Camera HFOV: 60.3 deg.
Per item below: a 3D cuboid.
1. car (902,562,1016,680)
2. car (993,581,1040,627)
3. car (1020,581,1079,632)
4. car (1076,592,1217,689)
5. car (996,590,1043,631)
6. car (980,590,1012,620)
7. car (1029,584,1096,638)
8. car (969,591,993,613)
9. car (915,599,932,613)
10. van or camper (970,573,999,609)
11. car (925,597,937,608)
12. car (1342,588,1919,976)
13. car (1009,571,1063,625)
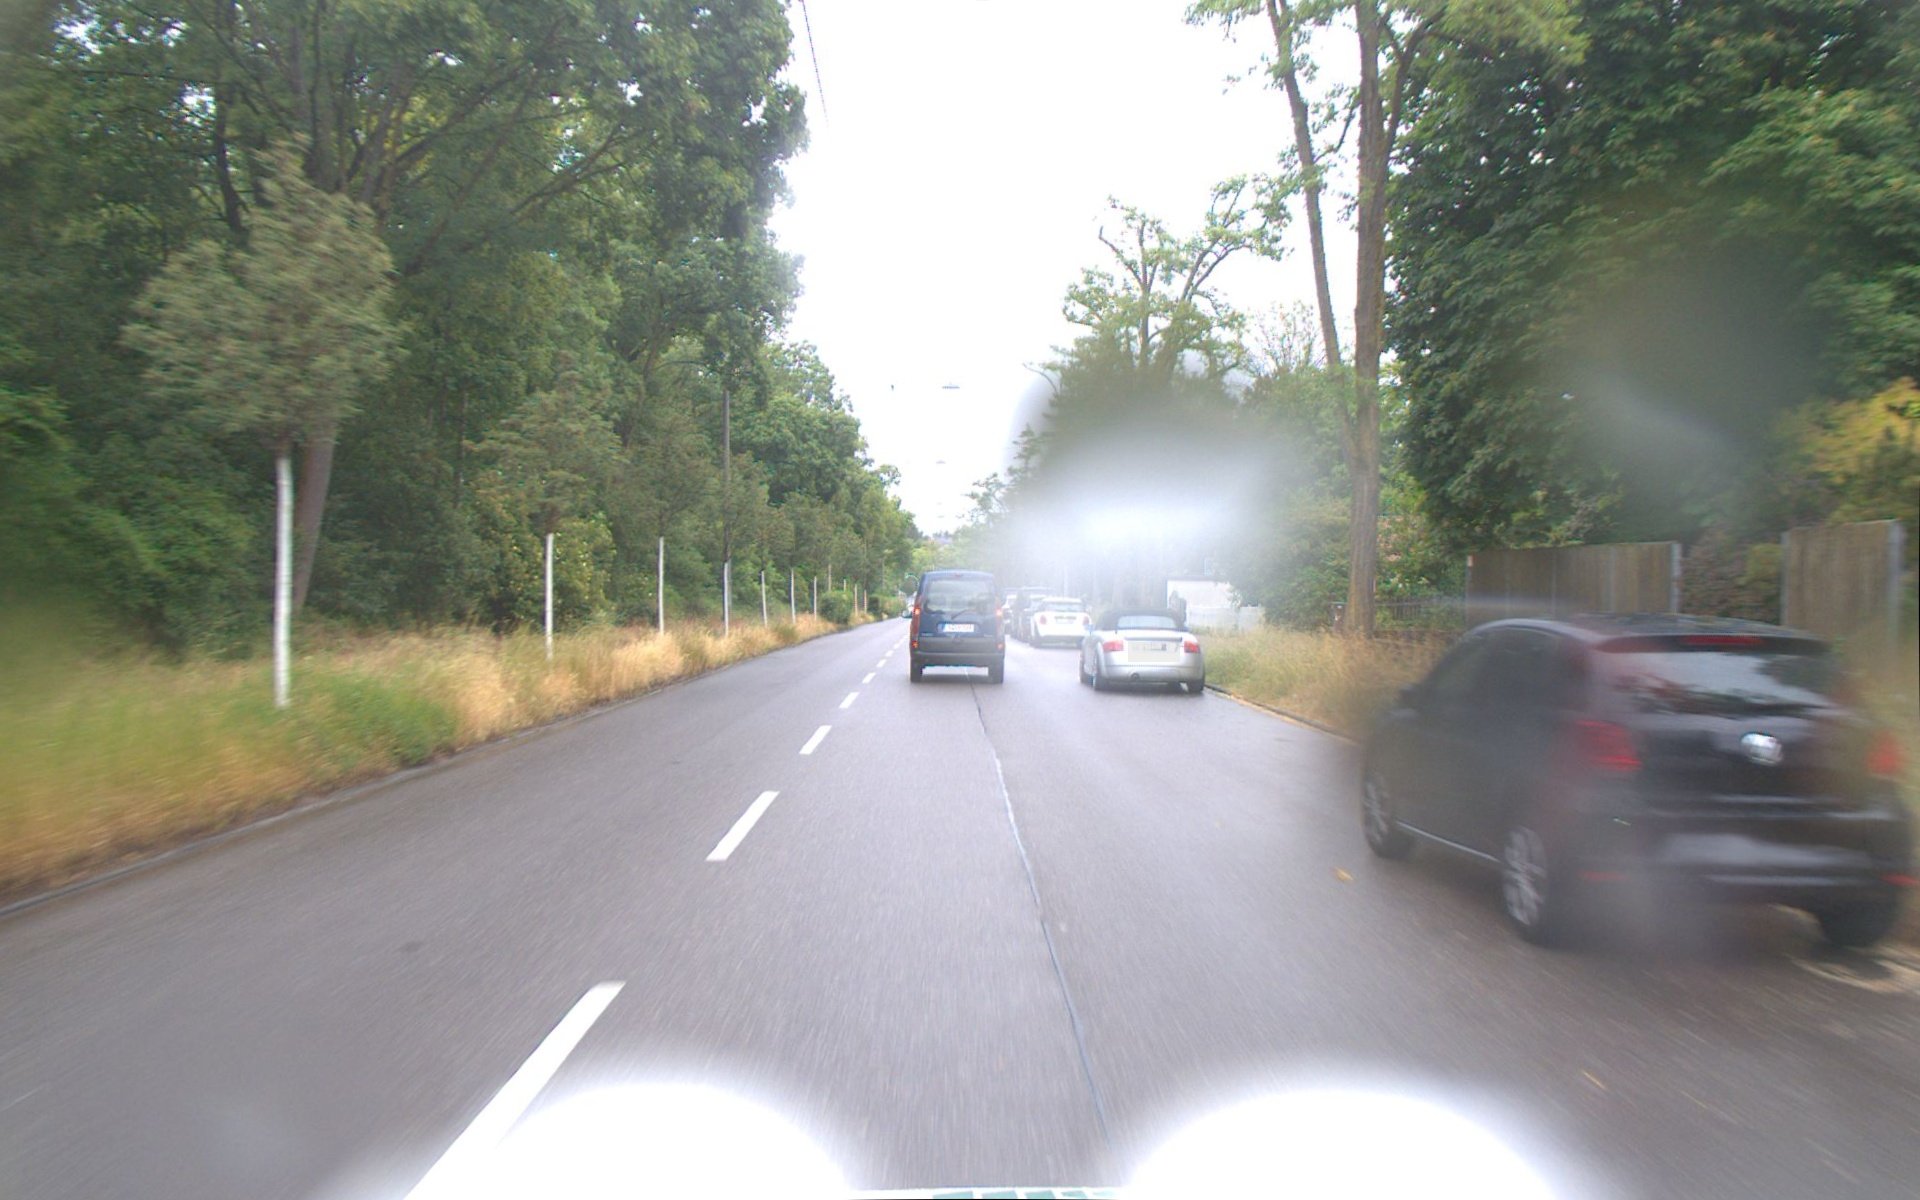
[{"bbox_3d":[-0.075,0.319,28.560,1.732,1.862,3.540,1,1,-3],"label":"car"},{"bbox_3d":[2.619,0.157,77.660,1.953,2.049,4.888,1,1,0],"label":"car"},{"bbox_3d":[2.908,0.181,54.437,1.644,1.583,4.075,1,1,-1],"label":"car"},{"bbox_3d":[3.003,0.613,27.433,1.746,1.419,3.999,1,1,-2],"label":"car"},{"bbox_3d":[2.527,0.427,70.848,1.768,1.641,4.285,1,1,-1],"label":"car"},{"bbox_3d":[2.300,0.298,107.617,1.778,1.845,4.281,2,1,-2],"label":"car"},{"bbox_3d":[3.014,0.295,49.132,1.702,1.490,3.724,1,1,-1],"label":"car"},{"bbox_3d":[1.539,0.138,120.334,1.592,1.489,3.809,1,1,2],"label":"car"},{"bbox_3d":[-4.106,0.668,186.452,1.822,1.506,4.156,-1,0,0],"label":"car"},{"bbox_3d":[1.904,-0.724,128.196,2.036,2.697,5.345,1,1,-1],"label":"van or camper"},{"bbox_3d":[-4.199,0.394,239.403,1.747,1.505,3.966,-1,-1,-1],"label":"car"},{"bbox_3d":[3.279,0.712,8.567,1.607,1.489,4.000,1,1,-1],"label":"car"},{"bbox_3d":[2.740,-0.092,60.489,1.695,1.879,4.230,1,1,-1],"label":"car"}]
